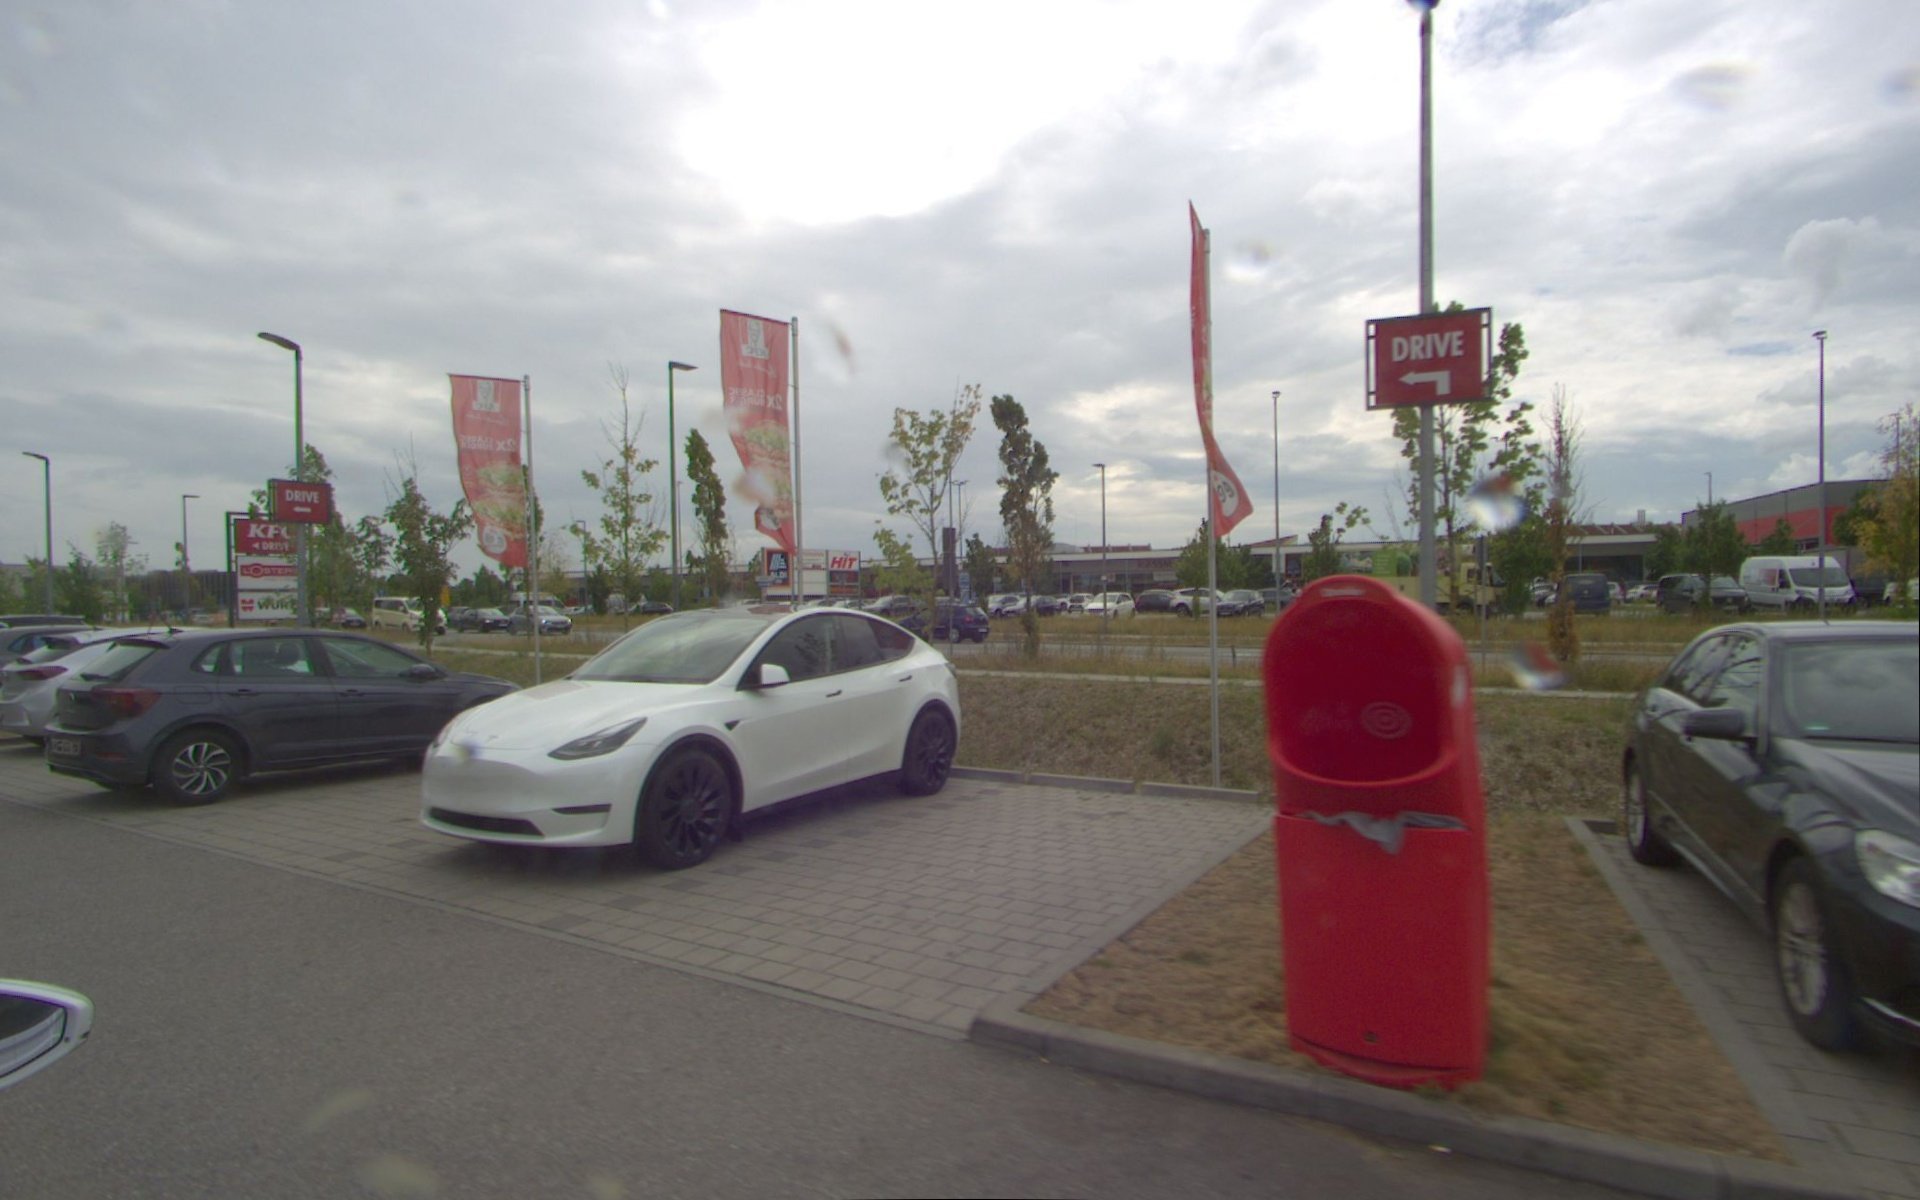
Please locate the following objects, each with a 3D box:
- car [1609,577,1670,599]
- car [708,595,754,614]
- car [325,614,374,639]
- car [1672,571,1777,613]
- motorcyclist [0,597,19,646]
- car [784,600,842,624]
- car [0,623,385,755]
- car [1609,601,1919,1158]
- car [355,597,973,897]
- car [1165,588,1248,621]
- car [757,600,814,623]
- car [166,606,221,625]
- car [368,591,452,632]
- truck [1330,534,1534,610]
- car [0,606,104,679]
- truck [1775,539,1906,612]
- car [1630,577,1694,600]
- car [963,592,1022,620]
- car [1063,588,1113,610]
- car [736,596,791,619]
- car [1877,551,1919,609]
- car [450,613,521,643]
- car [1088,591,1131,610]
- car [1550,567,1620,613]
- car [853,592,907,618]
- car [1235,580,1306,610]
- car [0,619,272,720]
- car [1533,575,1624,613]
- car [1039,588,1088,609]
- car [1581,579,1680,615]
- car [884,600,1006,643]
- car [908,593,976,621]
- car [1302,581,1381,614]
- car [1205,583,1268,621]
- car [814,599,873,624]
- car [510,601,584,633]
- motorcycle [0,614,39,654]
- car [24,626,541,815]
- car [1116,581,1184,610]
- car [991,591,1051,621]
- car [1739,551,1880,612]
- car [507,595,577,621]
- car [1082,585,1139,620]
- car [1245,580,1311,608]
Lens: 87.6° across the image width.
[{"bbox_3d":[57.709,-1.028,85.116,3.933,1.760,1.928,-1,2,23],"label":"car"},{"bbox_3d":[-23.398,0.485,102.212,4.114,1.863,1.995,-1,2,20],"label":"car"},{"bbox_3d":[-35.564,1.508,58.279,3.124,1.354,1.455,0,1,39],"label":"car"},{"bbox_3d":[31.646,-0.375,41.634,2.041,1.661,5.056,0,2,20],"label":"car"},{"bbox_3d":[-29.828,0.674,30.934,0.819,1.509,0.935,0,1,35],"label":"motorcyclist"},{"bbox_3d":[-10.383,0.822,70.905,1.970,1.560,4.034,0,2,30],"label":"car"},{"bbox_3d":[-9.999,1.038,13.093,1.814,1.430,3.917,0,-2,34],"label":"car"},{"bbox_3d":[4.330,0.802,4.409,1.881,1.475,4.727,0,-2,26],"label":"car"},{"bbox_3d":[-1.794,0.835,7.668,1.896,1.561,4.528,0,-2,29],"label":"car"},{"bbox_3d":[14.067,0.243,57.218,4.256,1.796,1.912,-1,2,30],"label":"car"},{"bbox_3d":[-12.780,0.809,73.459,1.839,1.522,4.048,0,2,34],"label":"car"},{"bbox_3d":[-65.412,1.340,85.432,4.777,1.573,1.795,-1,2,26],"label":"car"},{"bbox_3d":[-29.246,0.568,53.180,5.164,2.114,1.985,0,1,38],"label":"car"},{"bbox_3d":[21.798,-1.266,46.827,2.986,3.240,8.382,-2,2,-31],"label":"truck"},{"bbox_3d":[-21.445,0.912,21.671,1.842,1.565,4.184,0,0,39],"label":"car"},{"bbox_3d":[49.679,-1.386,56.841,2.610,3.794,8.236,-1,2,19],"label":"truck"},{"bbox_3d":[57.060,-0.933,81.470,3.933,1.760,1.928,-1,2,23],"label":"car"},{"bbox_3d":[1.998,0.338,60.319,1.747,1.560,4.030,0,2,33],"label":"car"},{"bbox_3d":[9.685,-0.104,75.653,1.975,1.560,4.129,0,2,38],"label":"car"},{"bbox_3d":[-14.701,0.549,75.032,1.879,1.560,4.034,0,2,30],"label":"car"},{"bbox_3d":[38.602,-0.793,38.585,2.304,2.298,6.491,-1,1,18],"label":"car"},{"bbox_3d":[-26.109,1.520,55.035,4.231,1.519,1.843,0,0,38],"label":"car"},{"bbox_3d":[15.728,0.054,105.154,4.116,1.863,1.993,0,2,23],"label":"car"},{"bbox_3d":[27.297,-0.402,43.877,2.044,1.910,5.052,0,0,26],"label":"car"},{"bbox_3d":[-5.284,0.318,66.813,1.746,1.560,3.744,0,2,30],"label":"car"},{"bbox_3d":[20.126,-0.333,64.826,4.246,1.796,1.994,-1,2,21],"label":"car"},{"bbox_3d":[-13.578,1.033,15.972,1.705,1.447,3.974,0,-1,37],"label":"car"},{"bbox_3d":[34.783,-0.342,56.395,3.926,2.041,1.997,-1,2,13],"label":"car"},{"bbox_3d":[9.711,-0.144,93.912,4.116,1.863,1.993,0,2,23],"label":"car"},{"bbox_3d":[34.666,-0.180,51.889,3.930,1.762,1.886,-1,2,20],"label":"car"},{"bbox_3d":[-0.609,0.794,38.289,4.362,1.506,1.917,0,2,36],"label":"car"},{"bbox_3d":[-1.094,0.419,63.384,1.978,1.560,4.122,0,2,43],"label":"car"},{"bbox_3d":[21.819,-0.162,57.301,3.940,1.796,1.990,-1,2,30],"label":"car"},{"bbox_3d":[14.163,0.078,51.073,1.904,1.796,4.295,0,2,33],"label":"car"},{"bbox_3d":[-8.018,0.801,69.176,1.970,1.560,4.034,0,2,30],"label":"car"},{"bbox_3d":[-20.689,0.815,50.094,3.953,1.479,1.815,0,2,40],"label":"car"},{"bbox_3d":[-29.833,1.056,30.937,0.784,1.224,1.909,0,1,35],"label":"motorcycle"},{"bbox_3d":[-6.274,0.983,9.702,1.714,1.430,3.789,0,-2,33],"label":"car"},{"bbox_3d":[12.685,-0.298,66.830,4.116,1.863,1.993,0,2,23],"label":"car"},{"bbox_3d":[3.594,0.337,58.591,1.747,1.560,4.030,0,2,33],"label":"car"},{"bbox_3d":[34.200,-0.769,40.594,2.374,2.245,6.043,0,2,20],"label":"car"},{"bbox_3d":[-38.441,0.673,92.229,2.312,2.151,5.553,0,2,39],"label":"car"},{"bbox_3d":[8.387,0.108,55.538,1.968,1.796,4.304,-1,2,25],"label":"car"},{"bbox_3d":[22.171,-0.422,69.799,4.248,1.796,1.994,-1,2,22],"label":"car"}]
